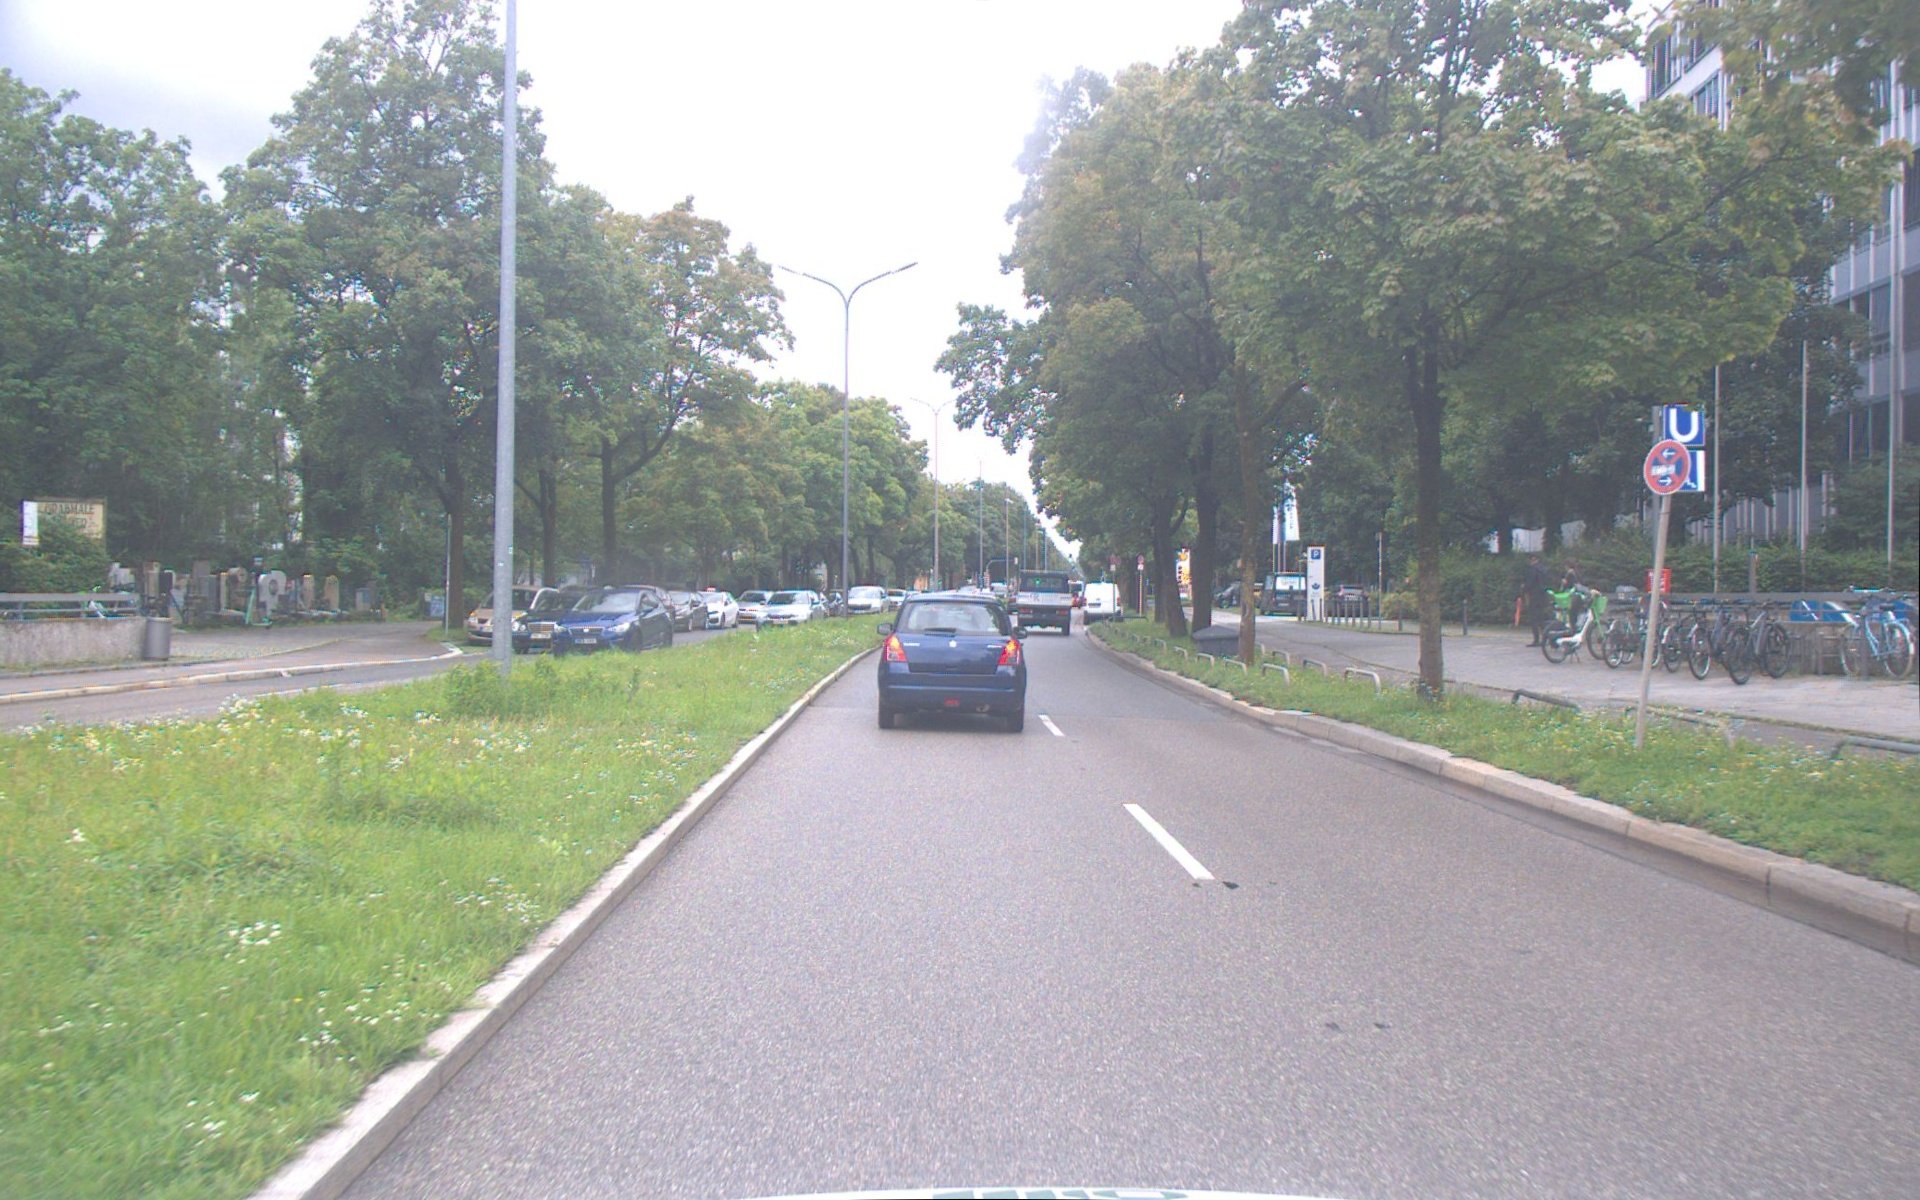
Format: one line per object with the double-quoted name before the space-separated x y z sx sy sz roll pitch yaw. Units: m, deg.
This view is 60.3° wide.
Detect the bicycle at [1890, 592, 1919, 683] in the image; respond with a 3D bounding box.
"bicycle" 12.920 0.493 21.608 0.477 1.210 1.954 0 0 1

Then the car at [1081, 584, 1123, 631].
"car" 6.986 0.343 81.401 1.945 2.195 5.559 -1 0 5

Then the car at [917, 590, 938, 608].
"car" -2.890 -0.087 149.163 1.655 1.593 3.081 0 0 3

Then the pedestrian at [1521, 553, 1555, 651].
"pedestrian" 11.666 0.040 33.371 0.638 1.932 0.749 0 0 20

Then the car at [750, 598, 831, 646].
"car" -5.533 0.692 54.620 1.875 1.510 4.867 -1 0 3

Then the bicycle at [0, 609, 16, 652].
"bicycle" -22.799 0.719 38.309 0.566 1.024 2.033 0 0 5

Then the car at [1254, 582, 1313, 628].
"car" 17.204 0.268 88.165 2.217 2.347 6.270 -1 0 3

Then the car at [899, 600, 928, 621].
"car" -3.786 0.872 136.091 1.793 1.637 4.494 2 0 5

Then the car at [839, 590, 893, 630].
"car" -4.090 0.424 72.484 1.729 1.653 4.379 -1 0 5

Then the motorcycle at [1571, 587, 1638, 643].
"motorcycle" 15.933 0.358 40.945 0.538 1.341 2.069 0 0 -10

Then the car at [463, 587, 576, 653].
"car" -11.744 0.499 44.282 1.612 1.642 3.821 1 0 6

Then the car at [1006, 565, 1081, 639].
"car" 3.051 0.054 59.368 2.367 2.487 5.090 1 0 6

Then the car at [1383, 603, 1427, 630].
"car" 23.586 0.862 87.500 1.746 1.398 3.964 1 0 23

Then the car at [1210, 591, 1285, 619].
"car" 21.535 0.361 124.138 5.355 2.120 2.148 0 0 4

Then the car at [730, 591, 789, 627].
"car" -9.098 0.393 75.459 1.700 1.473 4.825 3 0 4

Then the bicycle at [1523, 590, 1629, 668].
"bicycle" 10.569 0.487 28.350 1.927 1.209 0.591 -3 1 -30

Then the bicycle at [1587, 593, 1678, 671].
"bicycle" 11.259 0.518 27.674 1.937 1.127 0.572 -5 3 -41

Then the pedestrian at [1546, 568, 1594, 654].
"pedestrian" 12.533 0.214 33.988 0.769 1.744 0.748 0 0 33

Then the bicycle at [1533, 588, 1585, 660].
"bicycle" 11.296 0.428 31.218 0.519 1.248 1.863 -2 1 8

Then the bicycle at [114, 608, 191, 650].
"bicycle" -20.014 0.718 41.013 1.725 1.024 0.437 0 0 4

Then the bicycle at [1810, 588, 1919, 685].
"bicycle" 11.840 0.458 21.624 0.477 1.210 1.954 0 0 1

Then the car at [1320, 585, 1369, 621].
"car" 20.537 0.151 88.480 1.803 1.850 4.473 -1 0 3

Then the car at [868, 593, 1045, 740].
"car" 0.018 0.716 19.576 1.857 1.525 3.661 2 0 2

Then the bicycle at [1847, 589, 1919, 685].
"bicycle" 12.350 0.461 21.630 0.477 1.210 1.954 0 0 1

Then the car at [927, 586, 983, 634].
"car" -0.191 0.312 54.489 1.762 1.525 3.659 0 0 -1

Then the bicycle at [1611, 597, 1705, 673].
"bicycle" 11.238 0.545 26.603 1.937 1.102 0.588 -3 2 -41

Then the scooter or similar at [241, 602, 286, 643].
"scooter or similar" -19.527 0.620 46.383 0.426 1.146 1.290 0 0 17

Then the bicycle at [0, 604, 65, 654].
"bicycle" -21.678 0.648 38.377 0.566 1.118 2.033 0 0 5

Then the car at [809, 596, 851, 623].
"car" -7.408 0.532 94.354 1.591 1.448 4.194 3 0 6

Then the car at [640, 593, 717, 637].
"car" -10.311 0.535 60.836 1.702 1.508 4.336 2 0 5

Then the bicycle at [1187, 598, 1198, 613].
"bicycle" 18.921 0.463 134.503 0.732 1.203 2.248 0 0 5

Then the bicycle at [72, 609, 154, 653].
"bicycle" -19.922 0.734 38.909 1.725 1.024 0.437 0 0 4

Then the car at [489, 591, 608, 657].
"car" -9.928 0.549 40.179 1.656 1.510 3.969 0 0 3

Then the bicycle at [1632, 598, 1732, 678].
"bicycle" 11.006 0.571 25.191 1.937 1.084 0.572 -3 0 -41

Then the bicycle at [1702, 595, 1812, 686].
"bicycle" 10.880 0.543 22.548 2.014 1.118 0.572 -3 -1 -41

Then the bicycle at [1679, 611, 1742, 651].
"bicycle" 17.861 0.737 39.414 0.668 0.868 1.834 0 1 0

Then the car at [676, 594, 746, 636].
"car" -9.857 0.575 65.694 1.702 1.556 4.478 2 0 5

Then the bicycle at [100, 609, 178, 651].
"bicycle" -20.056 0.736 40.421 1.725 1.024 0.437 0 0 4

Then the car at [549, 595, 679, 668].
"car" -7.138 0.622 34.499 1.656 1.427 3.969 -1 0 3

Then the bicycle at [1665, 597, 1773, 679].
"bicycle" 11.105 0.547 24.157 2.022 1.108 0.596 -2 -2 -41

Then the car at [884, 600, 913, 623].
"car" -4.651 0.837 126.061 1.720 1.622 4.491 2 0 4
